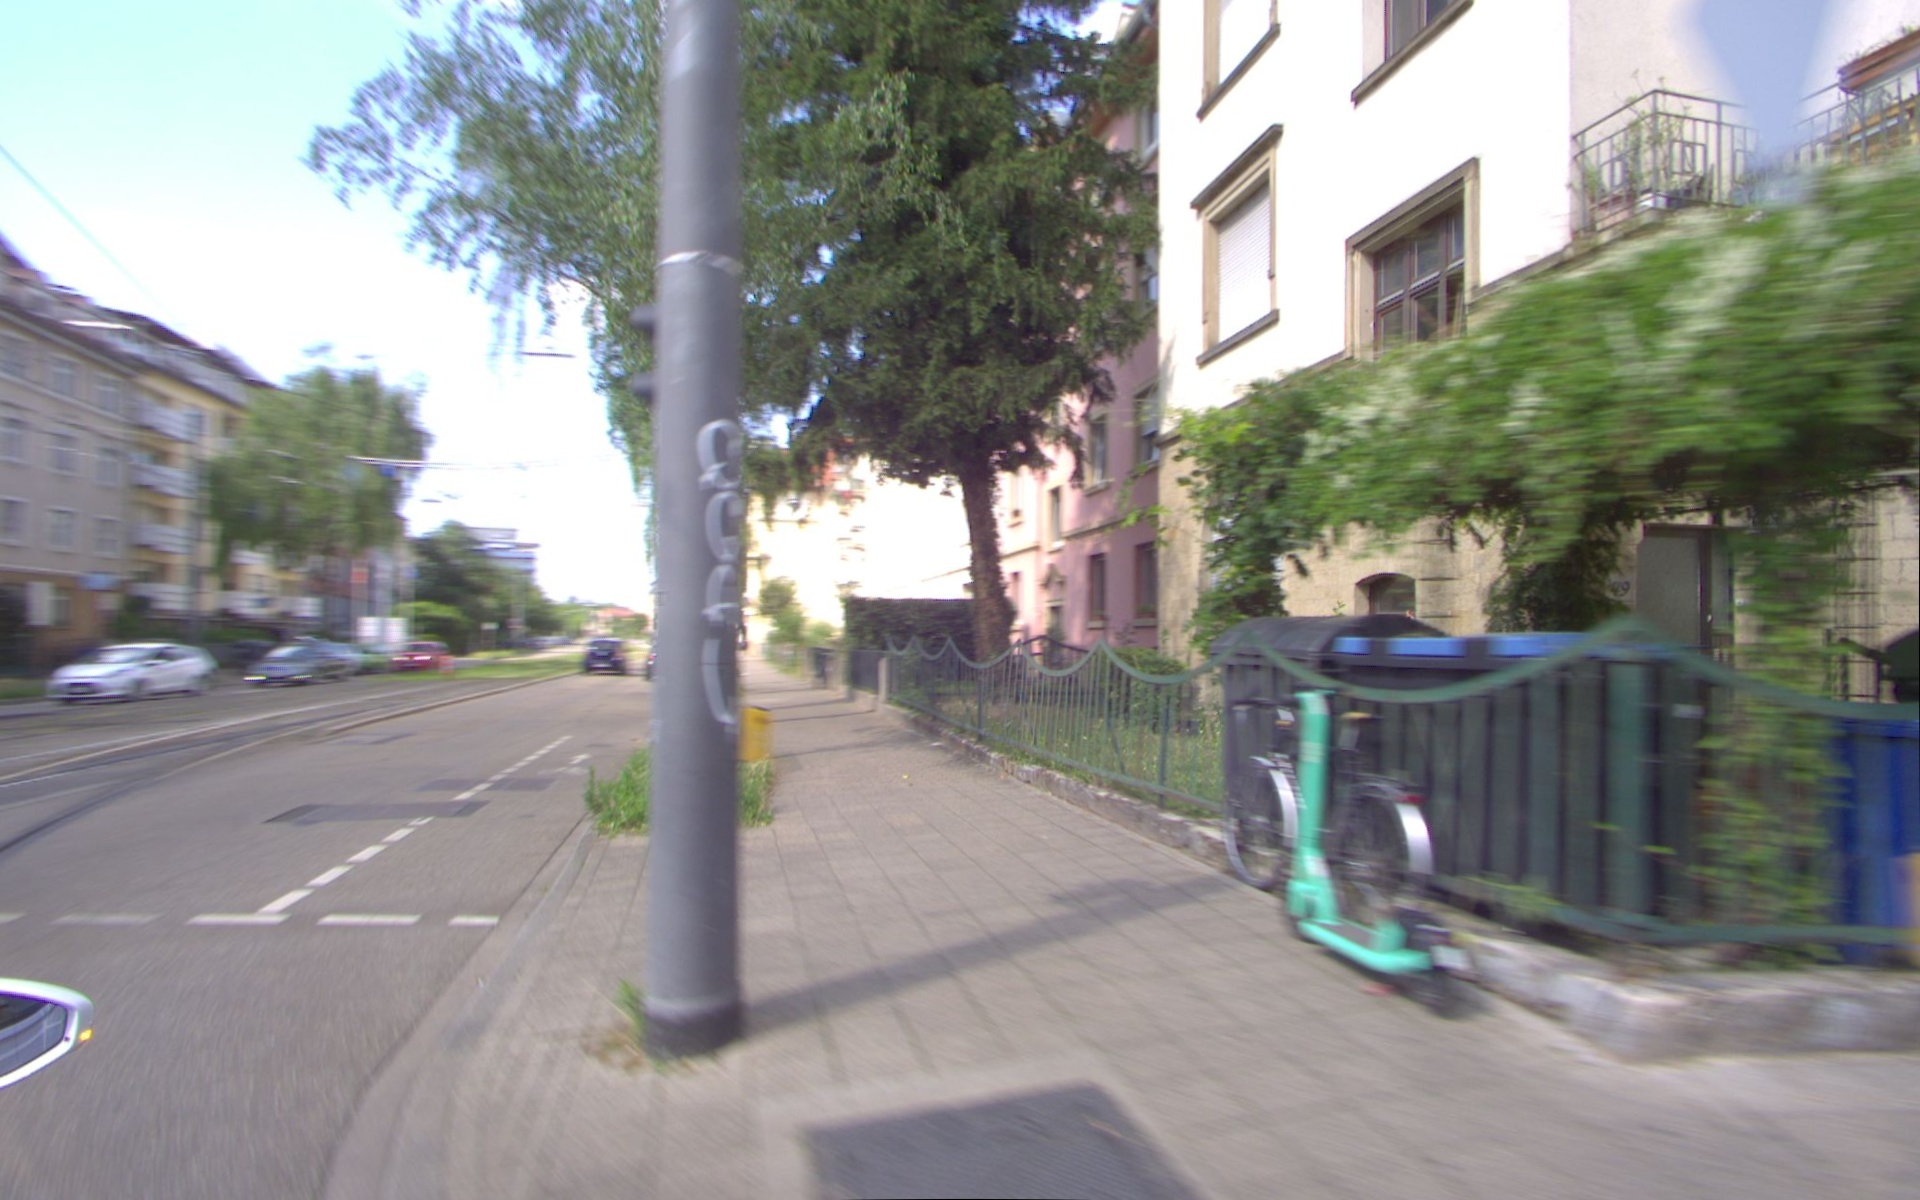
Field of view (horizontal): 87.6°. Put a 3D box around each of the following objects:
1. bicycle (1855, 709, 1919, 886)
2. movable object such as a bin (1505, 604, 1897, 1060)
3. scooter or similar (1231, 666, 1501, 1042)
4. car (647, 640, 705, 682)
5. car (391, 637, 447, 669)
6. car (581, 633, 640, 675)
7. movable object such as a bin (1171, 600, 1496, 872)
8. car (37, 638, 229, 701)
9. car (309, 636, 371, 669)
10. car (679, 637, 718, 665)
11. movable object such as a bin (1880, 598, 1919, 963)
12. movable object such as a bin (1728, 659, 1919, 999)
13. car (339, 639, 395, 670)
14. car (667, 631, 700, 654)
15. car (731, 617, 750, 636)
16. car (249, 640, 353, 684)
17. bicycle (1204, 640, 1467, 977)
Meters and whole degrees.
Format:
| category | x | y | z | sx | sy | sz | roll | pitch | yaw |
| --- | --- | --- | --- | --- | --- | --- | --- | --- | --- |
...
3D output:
| category | x | y | z | sx | sy | sz | roll | pitch | yaw |
| --- | --- | --- | --- | --- | --- | --- | --- | --- | --- |
| bicycle | 6.042 | 1.177 | 5.439 | 0.502 | 1.013 | 1.846 | 0 | -1 | -11 |
| movable object such as a bin | 2.707 | 0.770 | 3.724 | 0.964 | 1.491 | 0.716 | 0 | -1 | -12 |
| scooter or similar | 1.569 | 0.910 | 4.051 | 0.454 | 1.232 | 1.197 | 0 | -1 | -9 |
| car | -11.000 | 2.337 | 38.951 | 1.872 | 1.403 | 3.810 | 3 | -2 | -12 |
| car | -25.929 | 2.513 | 48.082 | 1.686 | 1.460 | 3.349 | 1 | -2 | -16 |
| car | -14.861 | 2.264 | 42.763 | 1.872 | 1.594 | 3.810 | 3 | -2 | -12 |
| movable object such as a bin | 2.232 | 0.745 | 6.398 | 1.033 | 1.431 | 2.099 | 0 | -1 | -10 |
| car | -20.943 | 1.720 | 25.617 | 1.899 | 1.457 | 4.020 | 1 | -2 | -7 |
| car | -27.514 | 2.308 | 44.516 | 1.540 | 1.403 | 3.183 | 1 | -2 | -16 |
| car | -14.431 | 2.795 | 55.326 | 1.872 | 1.403 | 3.810 | 3 | -2 | -12 |
| movable object such as a bin | 5.150 | 0.770 | 3.966 | 2.059 | 1.559 | 1.053 | 0 | -1 | -1 |
| movable object such as a bin | 3.771 | 0.848 | 3.974 | 0.646 | 1.190 | 1.031 | 0 | -1 | -1 |
| car | -28.621 | 2.608 | 48.430 | 1.540 | 1.403 | 3.183 | 1 | -2 | -16 |
| car | -18.431 | 2.812 | 66.952 | 1.872 | 1.403 | 3.810 | 3 | -2 | -12 |
| car | -22.582 | 2.680 | 103.058 | 1.872 | 1.820 | 3.810 | 3 | -2 | -12 |
| car | -22.501 | 2.079 | 34.359 | 2.199 | 1.389 | 3.970 | 1 | -2 | -22 |
| bicycle | 1.774 | 0.891 | 5.027 | 0.272 | 1.346 | 1.832 | 0 | -1 | -13 |
